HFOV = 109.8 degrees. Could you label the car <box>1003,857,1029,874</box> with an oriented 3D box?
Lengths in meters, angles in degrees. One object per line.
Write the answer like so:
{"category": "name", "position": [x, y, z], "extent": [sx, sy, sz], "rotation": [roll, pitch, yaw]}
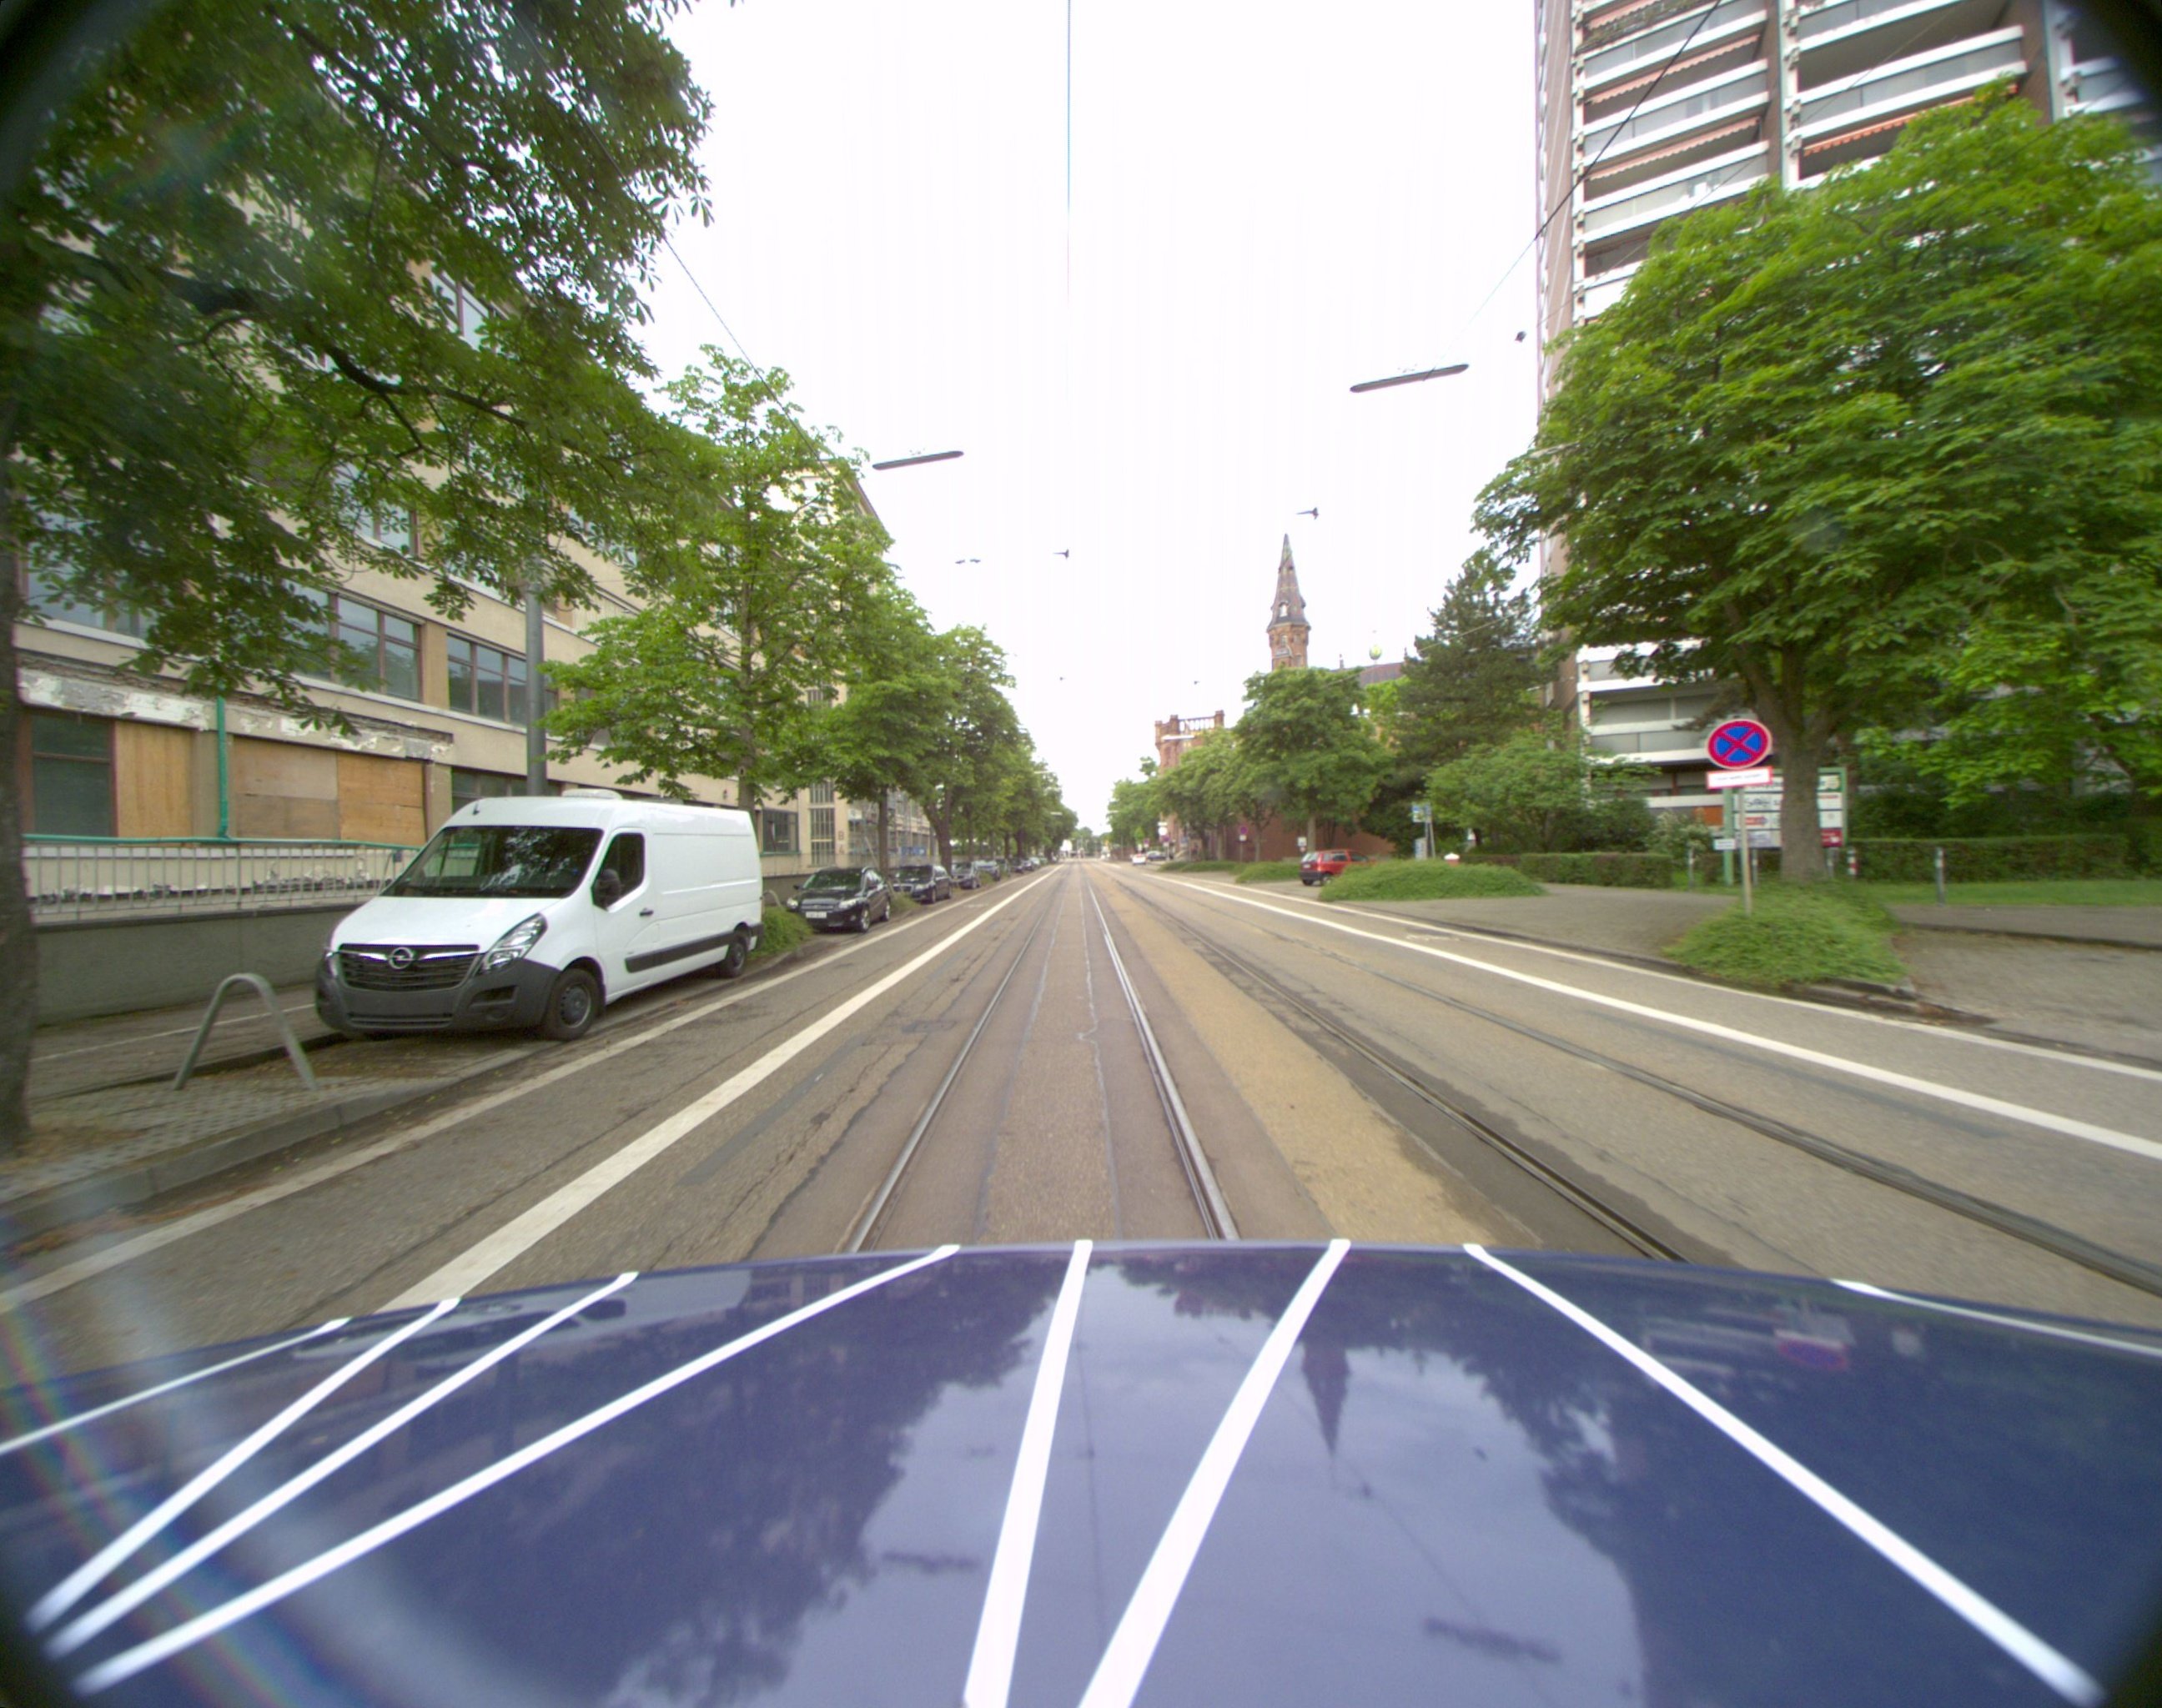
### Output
{"category": "car", "position": [-6.095, 1.096, 71.843], "extent": [1.999, 1.452, 4.392], "rotation": [-2, 0, 0]}

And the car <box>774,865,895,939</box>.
{"category": "car", "position": [-5.801, 1.068, 18.422], "extent": [1.826, 1.491, 4.104], "rotation": [0, 1, -4]}

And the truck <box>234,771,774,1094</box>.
{"category": "truck", "position": [-5.851, 0.639, 9.000], "extent": [2.118, 2.587, 5.491], "rotation": [-2, 0, 0]}

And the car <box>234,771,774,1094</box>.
{"category": "car", "position": [-5.851, 0.639, 9.000], "extent": [2.118, 2.587, 5.491], "rotation": [-2, 0, 0]}

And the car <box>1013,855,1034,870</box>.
{"category": "car", "position": [-6.296, 0.930, 83.527], "extent": [1.999, 1.452, 4.392], "rotation": [-2, 0, 0]}

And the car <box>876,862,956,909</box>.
{"category": "car", "position": [-5.967, 1.094, 28.017], "extent": [1.999, 1.452, 4.392], "rotation": [-2, 0, 0]}

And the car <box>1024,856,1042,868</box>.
{"category": "car", "position": [-6.153, 0.968, 97.391], "extent": [1.999, 1.452, 4.392], "rotation": [-2, 0, 0]}

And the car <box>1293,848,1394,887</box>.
{"category": "car", "position": [10.607, 0.509, 30.791], "extent": [3.504, 1.369, 1.632], "rotation": [-2, 2, -14]}

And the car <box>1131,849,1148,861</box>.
{"category": "car", "position": [7.974, 0.152, 104.219], "extent": [1.999, 1.521, 3.999], "rotation": [-1, 0, 0]}

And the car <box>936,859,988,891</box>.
{"category": "car", "position": [-6.137, 1.033, 39.672], "extent": [1.999, 1.452, 4.392], "rotation": [-2, 0, 0]}

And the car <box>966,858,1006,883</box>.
{"category": "car", "position": [-6.044, 1.028, 48.946], "extent": [1.999, 1.452, 4.392], "rotation": [-2, 0, 0]}

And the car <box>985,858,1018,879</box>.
{"category": "car", "position": [-5.933, 1.062, 56.996], "extent": [1.999, 1.452, 4.392], "rotation": [-2, 0, 0]}
